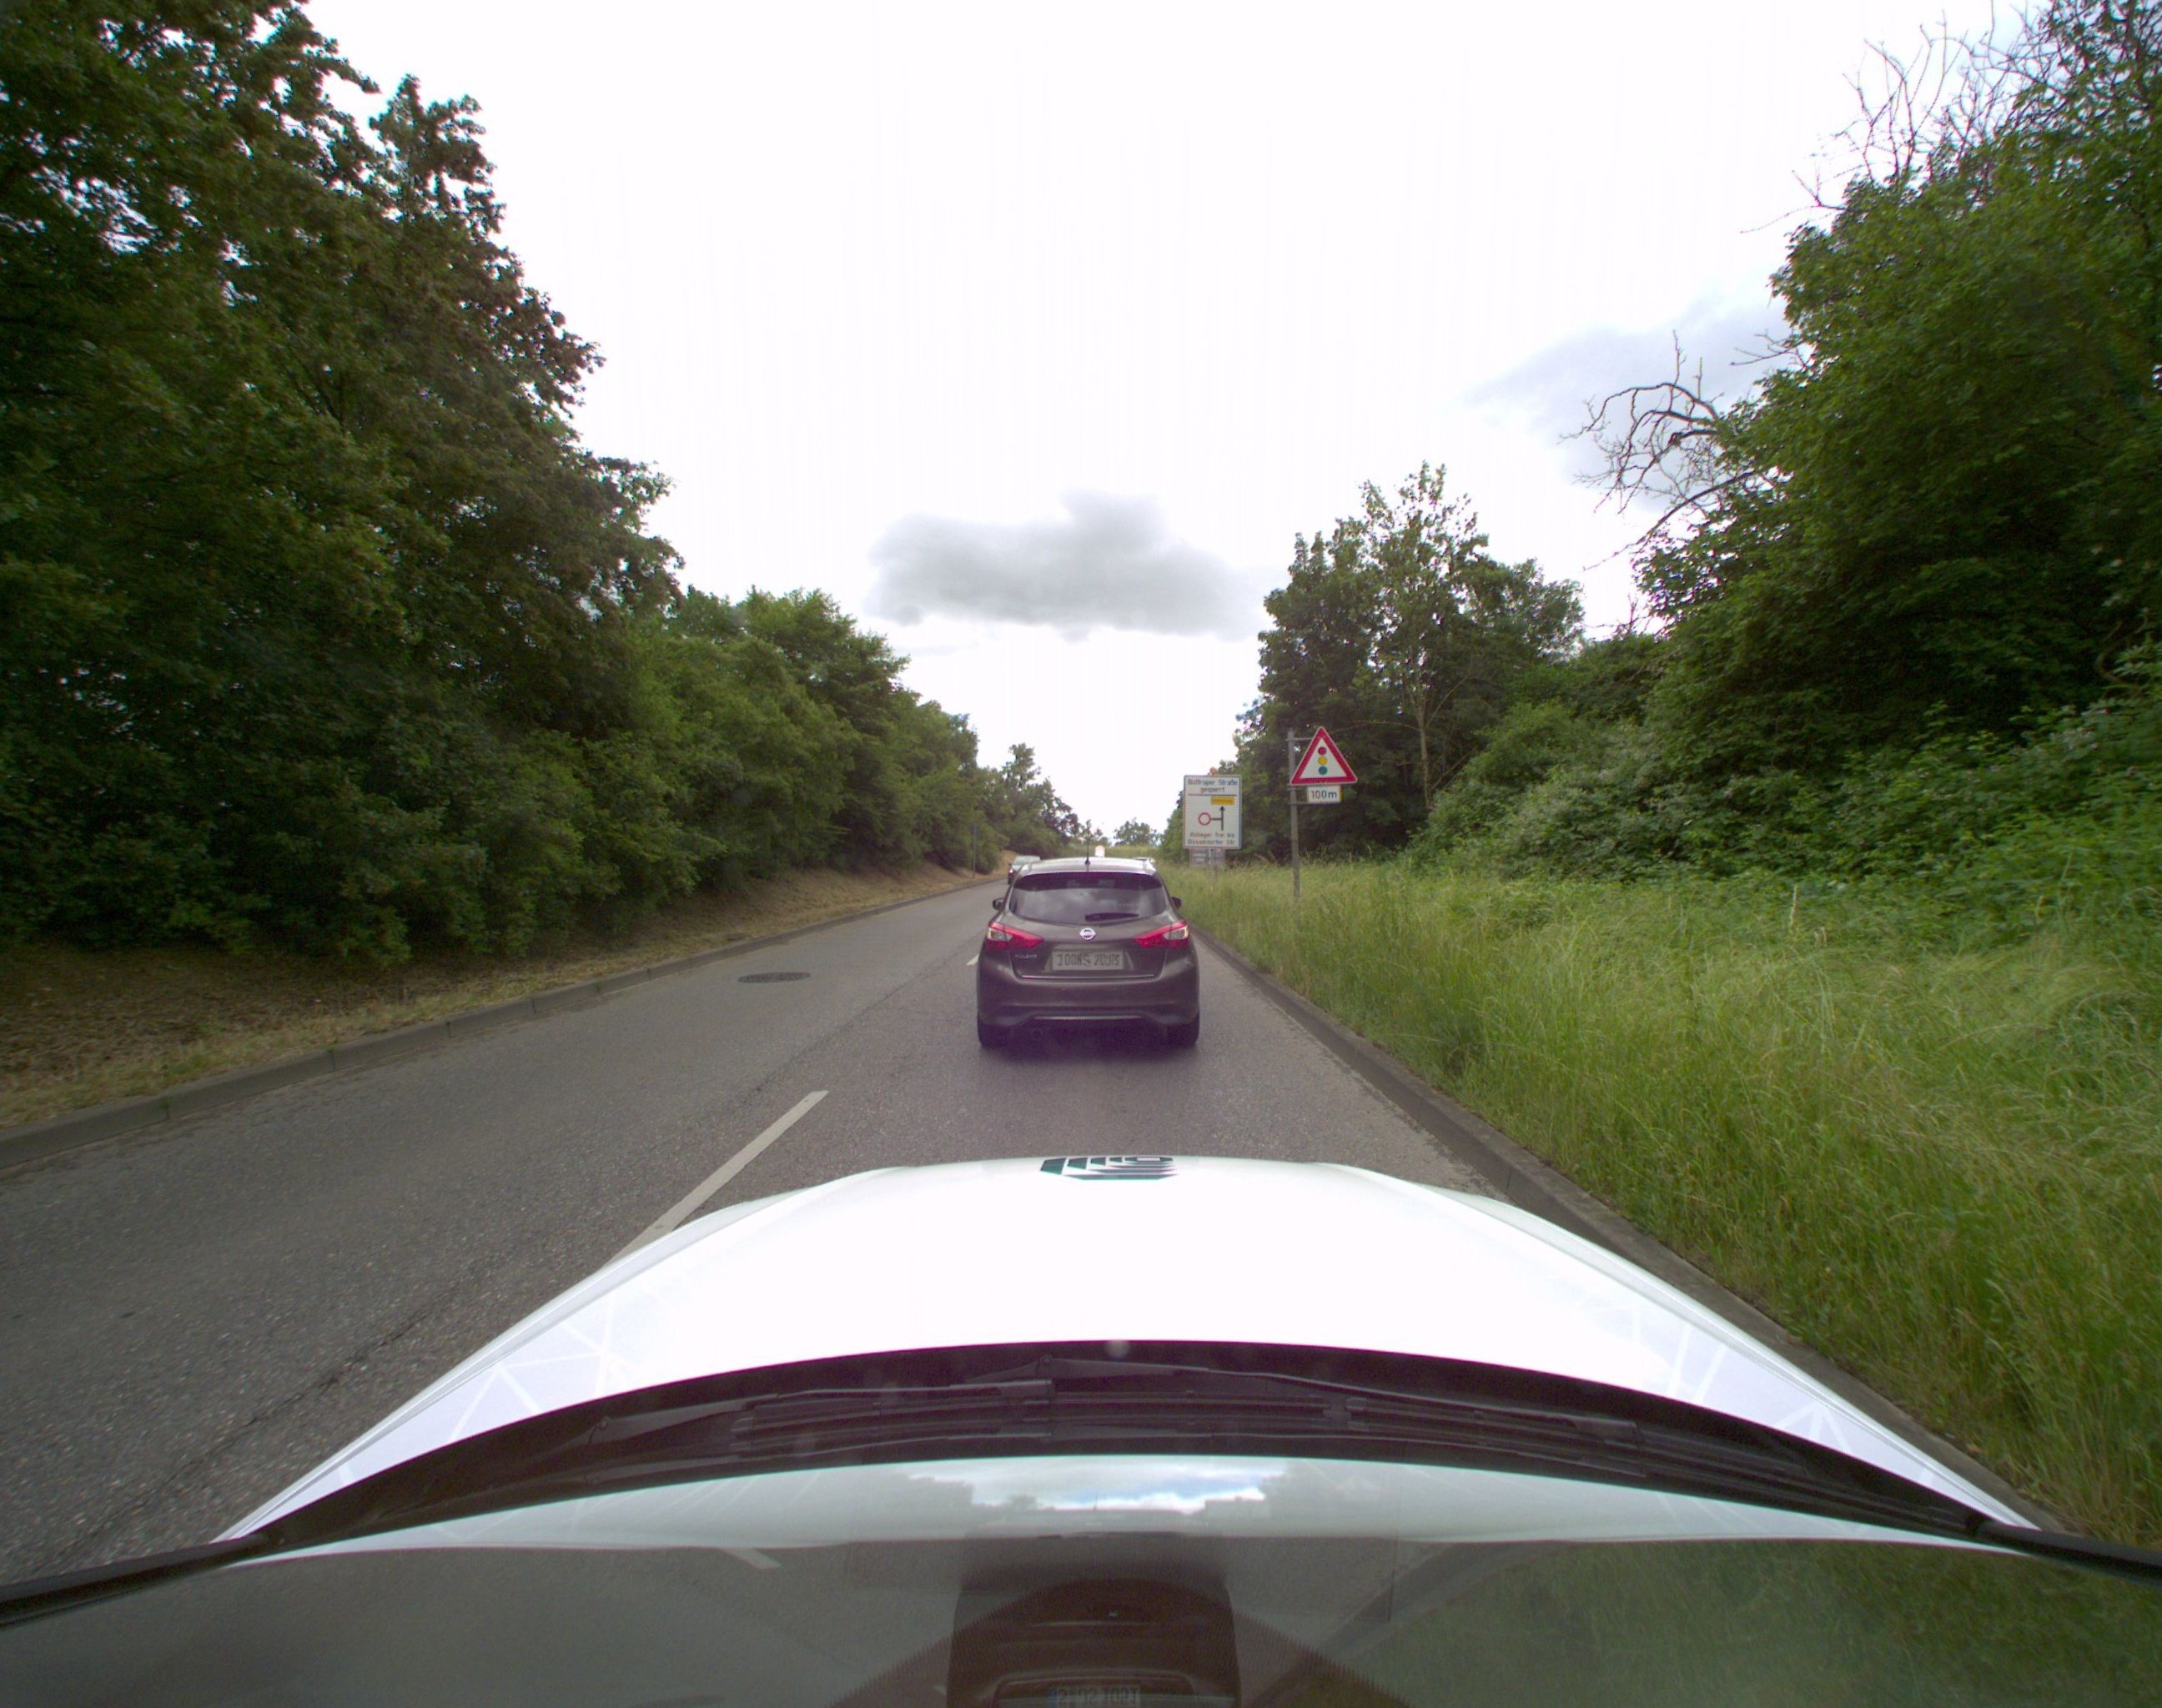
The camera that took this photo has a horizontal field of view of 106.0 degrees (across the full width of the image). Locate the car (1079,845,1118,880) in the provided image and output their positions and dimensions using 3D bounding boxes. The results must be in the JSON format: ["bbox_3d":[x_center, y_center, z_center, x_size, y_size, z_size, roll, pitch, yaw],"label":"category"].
[{"bbox_3d":[1.064,0.458,46.952,1.726,1.935,3.552,-2,0,9],"label":"car"}]

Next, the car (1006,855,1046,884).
[{"bbox_3d":[-2.754,0.769,41.436,1.636,1.400,3.822,-1,0,1],"label":"car"}]

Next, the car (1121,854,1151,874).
[{"bbox_3d":[4.337,0.773,64.283,1.723,1.526,3.556,-2,0,14],"label":"car"}]

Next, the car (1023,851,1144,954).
[{"bbox_3d":[0.105,0.748,14.356,1.823,1.556,3.626,-1,0,2],"label":"car"}]

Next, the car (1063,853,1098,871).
[{"bbox_3d":[-0.009,0.703,68.189,1.629,1.400,3.840,2,0,19],"label":"car"}]

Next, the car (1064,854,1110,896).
[{"bbox_3d":[0.298,0.822,32.908,1.729,1.556,3.545,-1,0,2],"label":"car"}]

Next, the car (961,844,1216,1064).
[{"bbox_3d":[0.067,0.722,7.638,1.824,1.556,3.499,-1,0,0],"label":"car"}]

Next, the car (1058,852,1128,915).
[{"bbox_3d":[0.378,0.743,22.290,1.729,1.556,3.545,-1,0,2],"label":"car"}]
